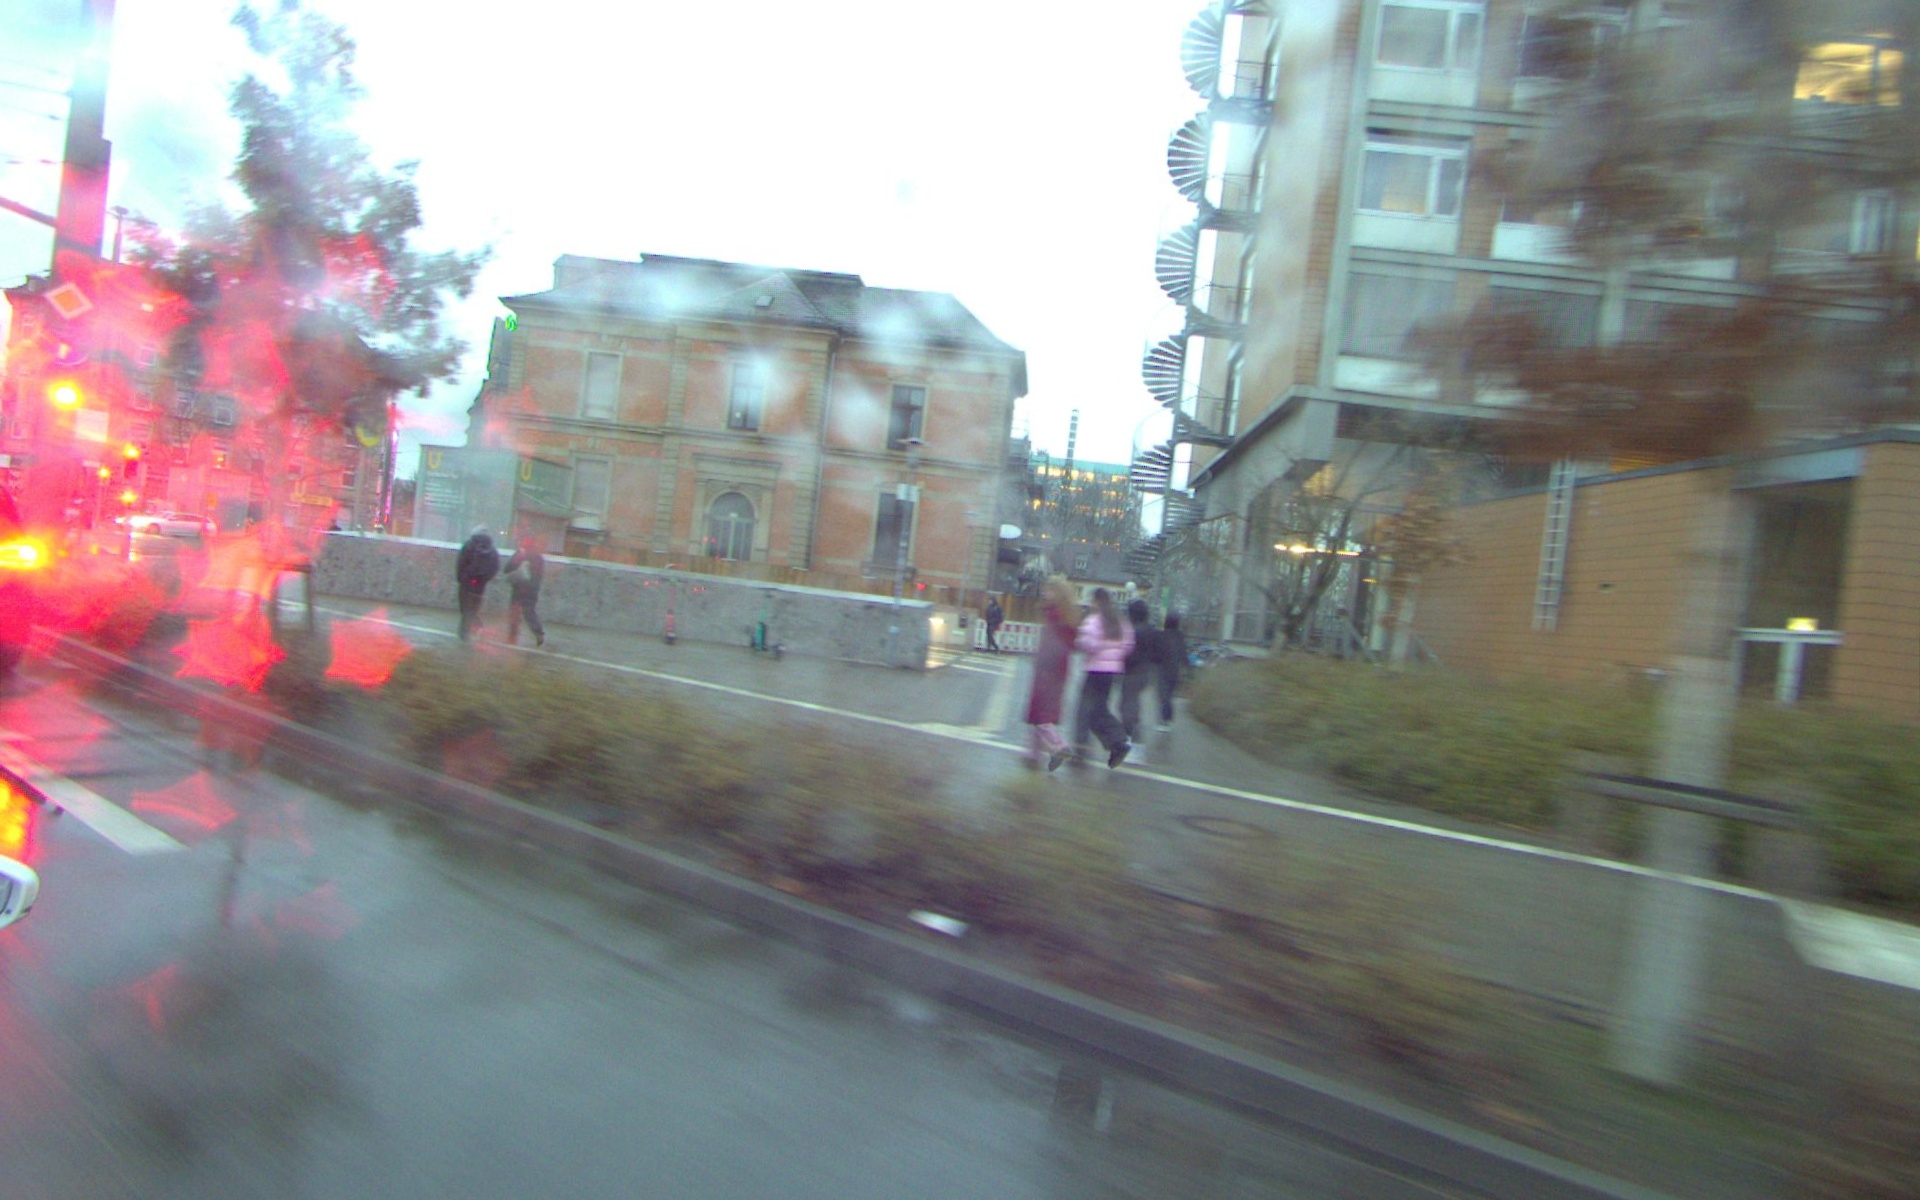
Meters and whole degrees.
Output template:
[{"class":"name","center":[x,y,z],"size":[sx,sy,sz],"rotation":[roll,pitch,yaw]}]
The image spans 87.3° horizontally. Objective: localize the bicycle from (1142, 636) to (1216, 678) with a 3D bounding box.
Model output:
[{"class":"bicycle","center":[6.618,1.729,30.470],"size":[2.021,1.004,0.708],"rotation":[6,1,8]}]

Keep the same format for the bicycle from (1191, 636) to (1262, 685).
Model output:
[{"class":"bicycle","center":[7.358,1.663,27.817],"size":[1.761,1.116,0.401],"rotation":[6,1,8]}]

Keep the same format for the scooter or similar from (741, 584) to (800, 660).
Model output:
[{"class":"scooter or similar","center":[-3.427,0.380,18.140],"size":[0.508,1.229,1.372],"rotation":[6,0,-30]}]

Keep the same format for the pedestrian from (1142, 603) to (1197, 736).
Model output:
[{"class":"pedestrian","center":[3.012,0.985,14.414],"size":[0.549,1.813,0.584],"rotation":[6,1,15]}]

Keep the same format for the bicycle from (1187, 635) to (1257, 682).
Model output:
[{"class":"bicycle","center":[7.409,1.637,28.460],"size":[1.761,1.116,0.442],"rotation":[6,1,8]}]

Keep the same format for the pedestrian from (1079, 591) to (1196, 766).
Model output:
[{"class":"pedestrian","center":[1.839,0.806,10.468],"size":[0.713,1.709,0.753],"rotation":[6,1,-33]}]

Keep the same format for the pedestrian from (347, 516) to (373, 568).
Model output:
[{"class":"pedestrian","center":[-23.955,-2.298,40.175],"size":[0.670,1.974,0.657],"rotation":[6,1,-29]}]

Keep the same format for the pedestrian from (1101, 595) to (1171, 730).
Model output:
[{"class":"pedestrian","center":[2.541,0.883,14.497],"size":[0.735,1.813,0.854],"rotation":[6,1,15]}]

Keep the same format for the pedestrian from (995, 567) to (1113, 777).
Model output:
[{"class":"pedestrian","center":[0.845,0.636,9.145],"size":[0.579,1.804,0.762],"rotation":[4,2,-33]}]

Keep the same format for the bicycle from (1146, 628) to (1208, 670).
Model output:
[{"class":"bicycle","center":[6.778,1.522,31.435],"size":[1.764,1.116,0.390],"rotation":[6,1,-6]}]

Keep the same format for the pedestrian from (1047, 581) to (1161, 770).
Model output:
[{"class":"pedestrian","center":[1.371,0.715,9.630],"size":[0.662,1.710,0.606],"rotation":[4,4,-33]}]

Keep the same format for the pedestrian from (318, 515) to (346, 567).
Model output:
[{"class":"pedestrian","center":[-25.006,-2.344,40.065],"size":[0.668,1.974,0.674],"rotation":[6,1,-19]}]

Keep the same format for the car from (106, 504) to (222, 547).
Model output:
[{"class":"car","center":[-43.163,-4.005,54.718],"size":[1.707,1.677,4.816],"rotation":[6,0,13]}]

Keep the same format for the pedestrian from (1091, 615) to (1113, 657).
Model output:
[{"class":"pedestrian","center":[5.978,1.520,42.334],"size":[0.651,1.678,0.789],"rotation":[6,1,2]}]

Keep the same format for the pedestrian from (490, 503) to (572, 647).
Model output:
[{"class":"pedestrian","center":[-6.529,-0.380,15.297],"size":[0.802,2.038,0.753],"rotation":[8,2,-33]}]

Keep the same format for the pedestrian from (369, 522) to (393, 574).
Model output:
[{"class":"pedestrian","center":[-23.294,-2.095,40.458],"size":[0.671,1.974,0.657],"rotation":[6,1,-30]}]

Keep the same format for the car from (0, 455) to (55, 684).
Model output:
[{"class":"car","center":[-9.799,-0.513,8.770],"size":[4.354,1.822,1.779],"rotation":[7,-1,35]}]

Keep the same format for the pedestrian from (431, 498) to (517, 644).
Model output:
[{"class":"pedestrian","center":[-6.983,-0.420,14.450],"size":[0.802,1.954,0.753],"rotation":[8,2,-33]}]

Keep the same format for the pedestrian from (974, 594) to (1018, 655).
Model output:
[{"class":"pedestrian","center":[1.094,0.745,30.783],"size":[0.908,1.726,0.795],"rotation":[6,1,-31]}]

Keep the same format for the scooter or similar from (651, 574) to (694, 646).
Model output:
[{"class":"scooter or similar","center":[-5.367,0.168,18.745],"size":[0.507,1.229,1.376],"rotation":[6,0,-22]}]
